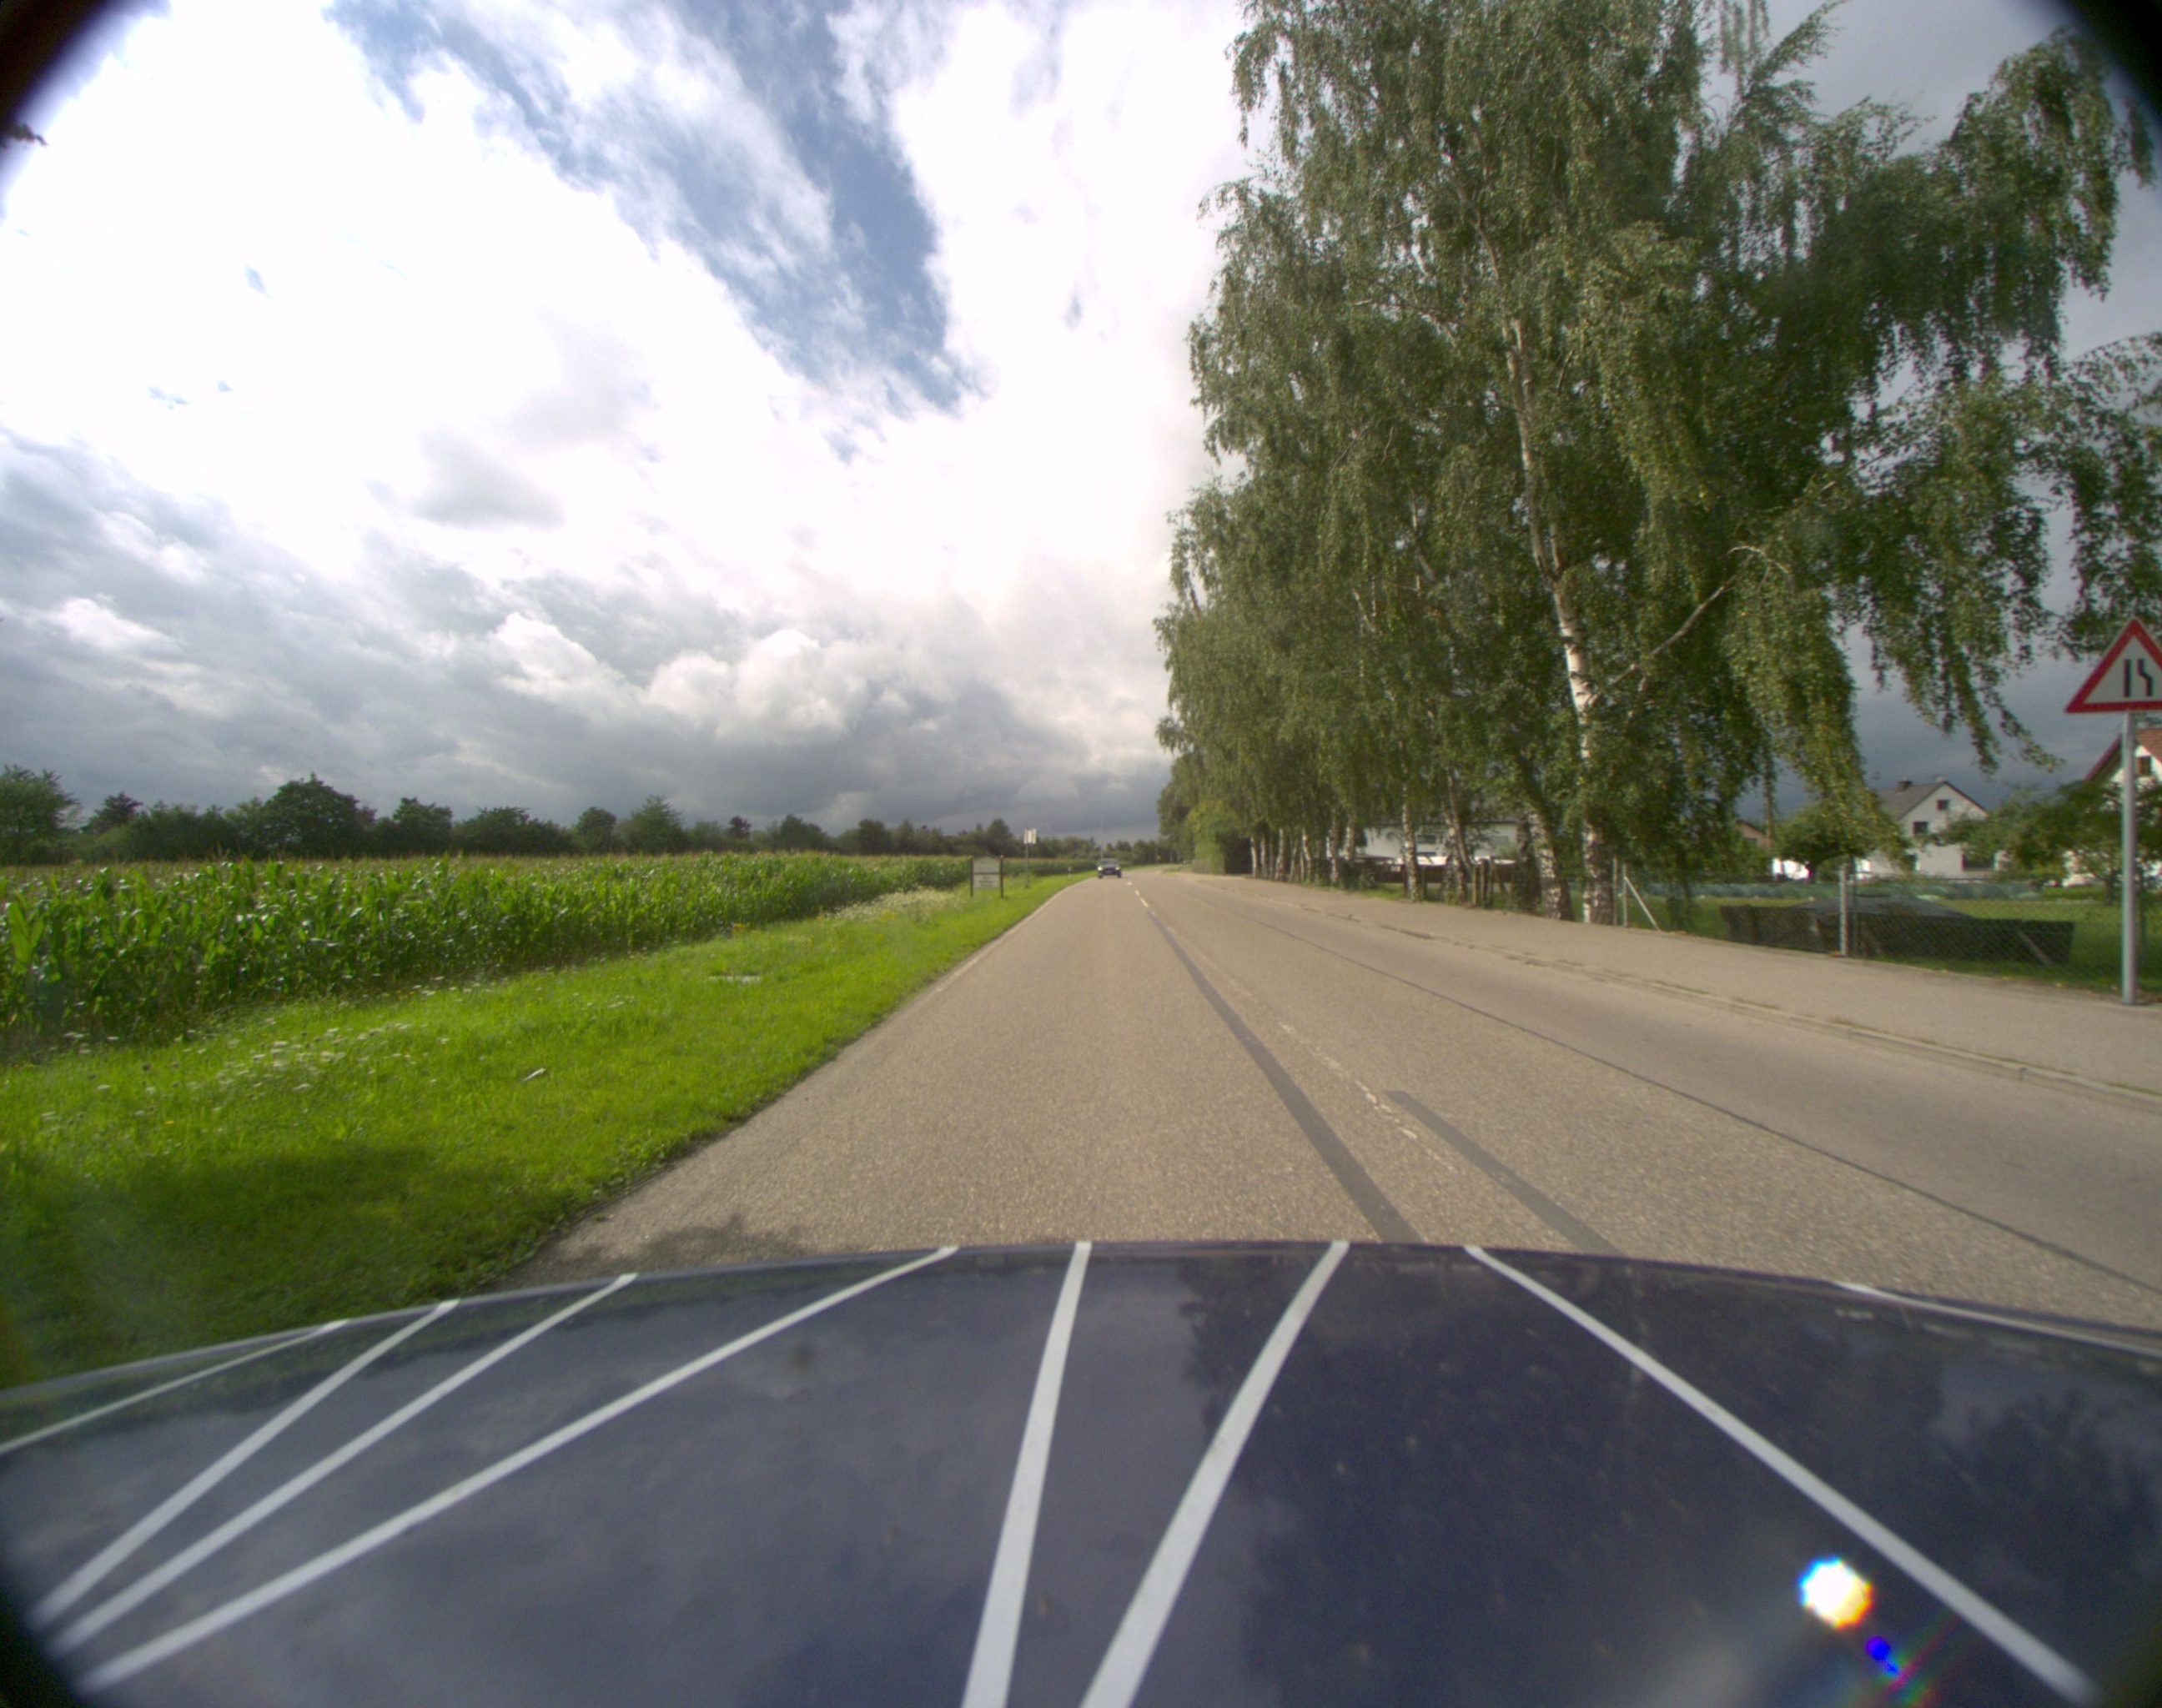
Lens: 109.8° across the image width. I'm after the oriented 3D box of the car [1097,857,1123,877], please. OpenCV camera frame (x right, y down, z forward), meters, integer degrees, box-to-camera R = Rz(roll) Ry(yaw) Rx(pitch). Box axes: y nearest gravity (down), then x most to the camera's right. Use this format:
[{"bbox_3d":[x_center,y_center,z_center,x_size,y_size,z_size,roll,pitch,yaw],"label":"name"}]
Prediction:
[{"bbox_3d":[2.437,1.064,63.354,1.998,1.594,4.002,-1,-1,4],"label":"car"}]
